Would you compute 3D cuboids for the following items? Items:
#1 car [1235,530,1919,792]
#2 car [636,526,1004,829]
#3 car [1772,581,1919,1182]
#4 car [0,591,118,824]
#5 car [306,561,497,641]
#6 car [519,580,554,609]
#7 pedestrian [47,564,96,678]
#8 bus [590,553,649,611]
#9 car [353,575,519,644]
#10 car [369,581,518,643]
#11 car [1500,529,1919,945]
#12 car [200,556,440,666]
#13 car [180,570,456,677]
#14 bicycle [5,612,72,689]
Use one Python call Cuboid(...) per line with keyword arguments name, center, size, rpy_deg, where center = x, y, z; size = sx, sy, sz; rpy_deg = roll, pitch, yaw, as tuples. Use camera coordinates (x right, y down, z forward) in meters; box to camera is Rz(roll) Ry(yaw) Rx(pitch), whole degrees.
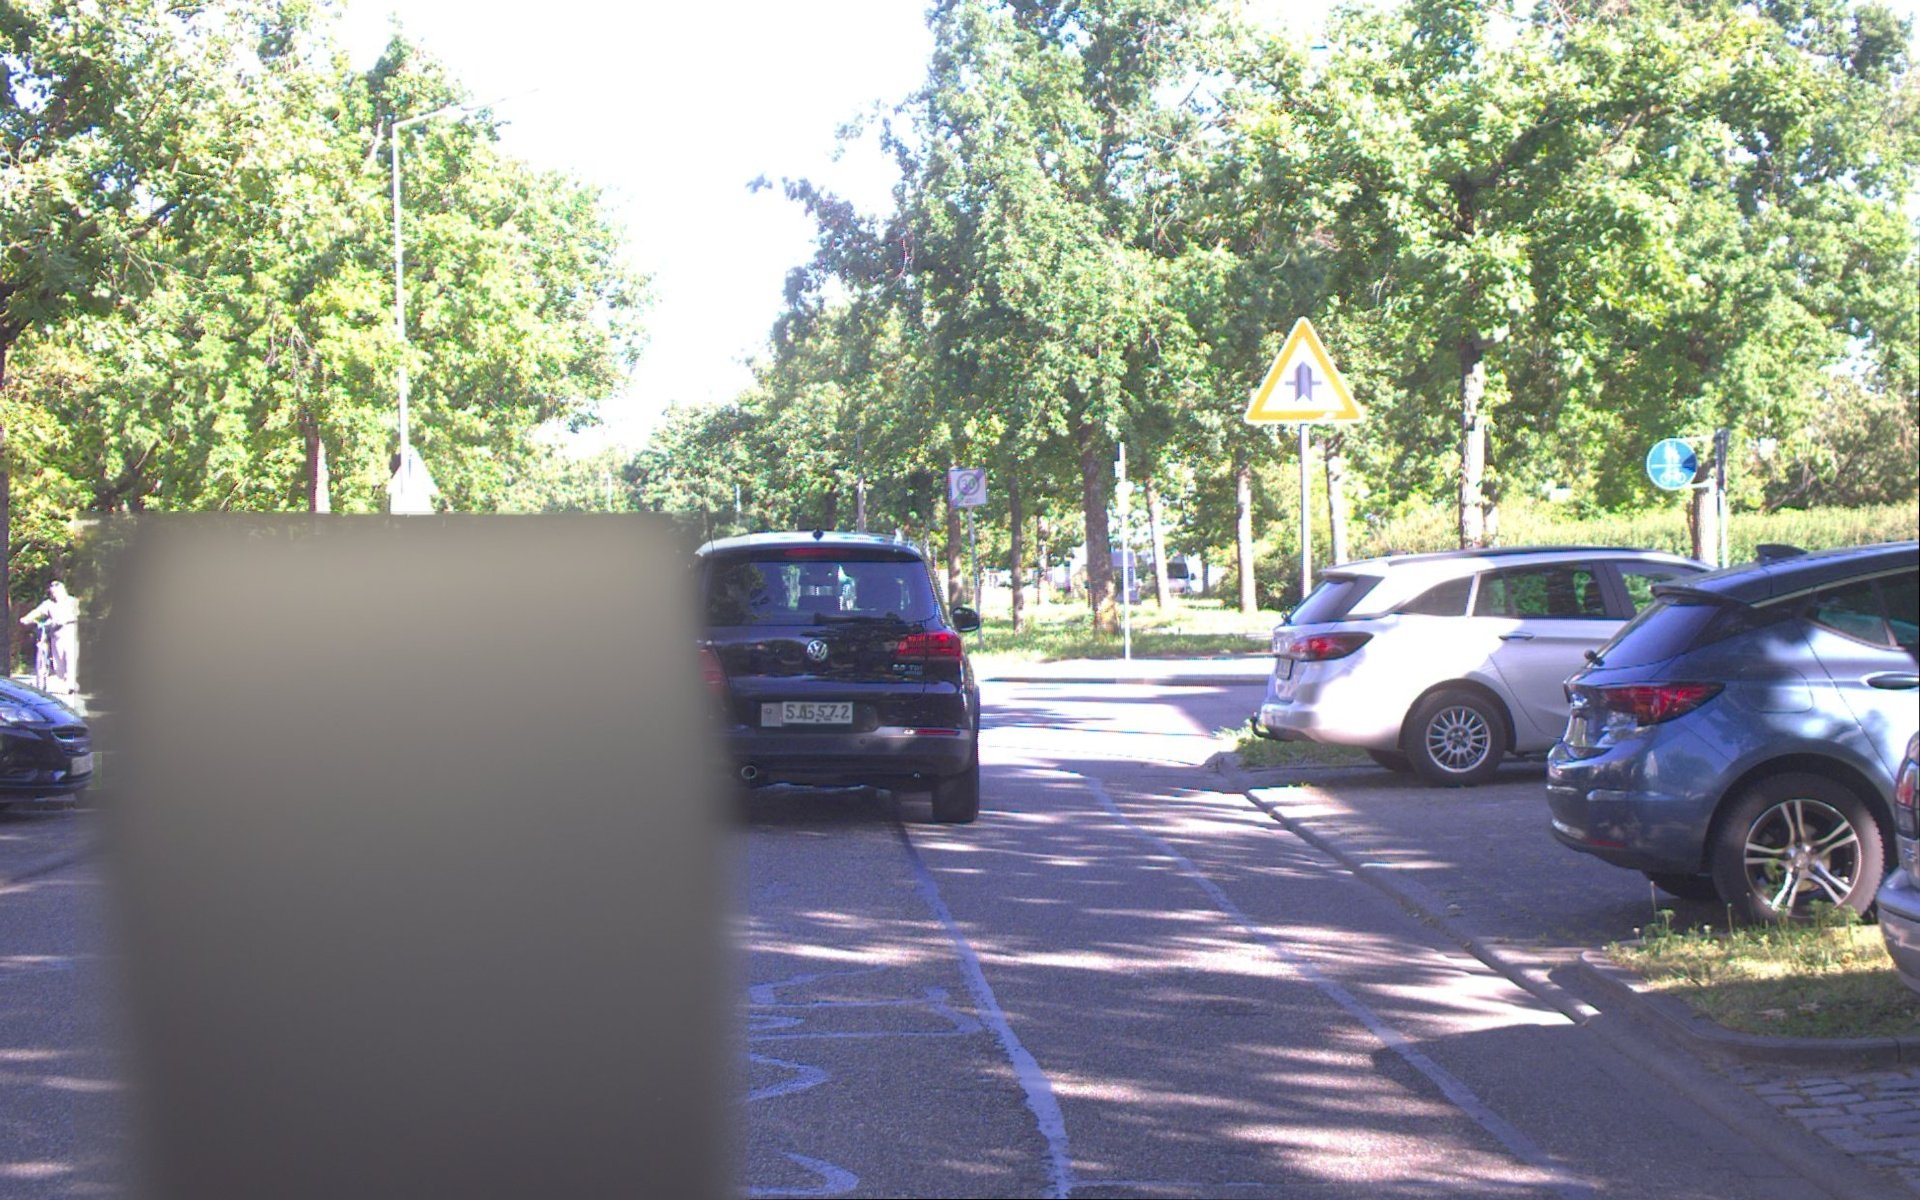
Cuboid(name="car", center=(4.094, 0.365, 22.351), size=(4.428, 1.486, 1.797), rpy_deg=(-2, 1, 1))
Cuboid(name="car", center=(-0.735, 0.398, 20.620), size=(1.838, 1.631, 3.957), rpy_deg=(-1, 1, 3))
Cuboid(name="car", center=(4.415, 0.606, 8.665), size=(4.276, 1.409, 1.797), rpy_deg=(-2, 1, 1))
Cuboid(name="car", center=(-7.712, 0.693, 22.730), size=(3.857, 1.454, 1.713), rpy_deg=(0, 1, 1))
Cuboid(name="car", center=(-12.463, 0.006, 76.898), size=(4.015, 1.642, 1.811), rpy_deg=(-2, 1, -4))
Cuboid(name="car", center=(-25.147, -0.309, 204.323), size=(1.852, 1.687, 3.956), rpy_deg=(-2, 0, -4))
Cuboid(name="pedestrian", center=(-12.325, 0.288, 47.703), size=(0.441, 1.551, 0.801), rpy_deg=(-1, 1, -1))
Cuboid(name="bus", center=(-18.354, -0.945, 185.835), size=(2.928, 2.993, 5.738), rpy_deg=(-2, 0, -4))
Cuboid(name="car", center=(-13.292, 0.241, 87.393), size=(4.015, 1.642, 1.811), rpy_deg=(-1, 0, -4))
Cuboid(name="car", center=(-14.645, 0.327, 97.641), size=(4.015, 1.642, 1.811), rpy_deg=(-1, 1, -4))
Cuboid(name="car", center=(4.436, 0.453, 13.629), size=(4.276, 1.498, 1.797), rpy_deg=(-2, 1, 1))
Cuboid(name="car", center=(-11.489, 0.179, 61.922), size=(4.015, 1.833, 1.897), rpy_deg=(-2, 1, -4))
Cuboid(name="car", center=(-10.520, 0.378, 56.543), size=(4.241, 1.617, 1.897), rpy_deg=(-1, 0, -4))
Cuboid(name="bicycle", center=(-12.763, 0.691, 47.654), size=(0.447, 1.036, 1.893), rpy_deg=(-2, 0, -1))
